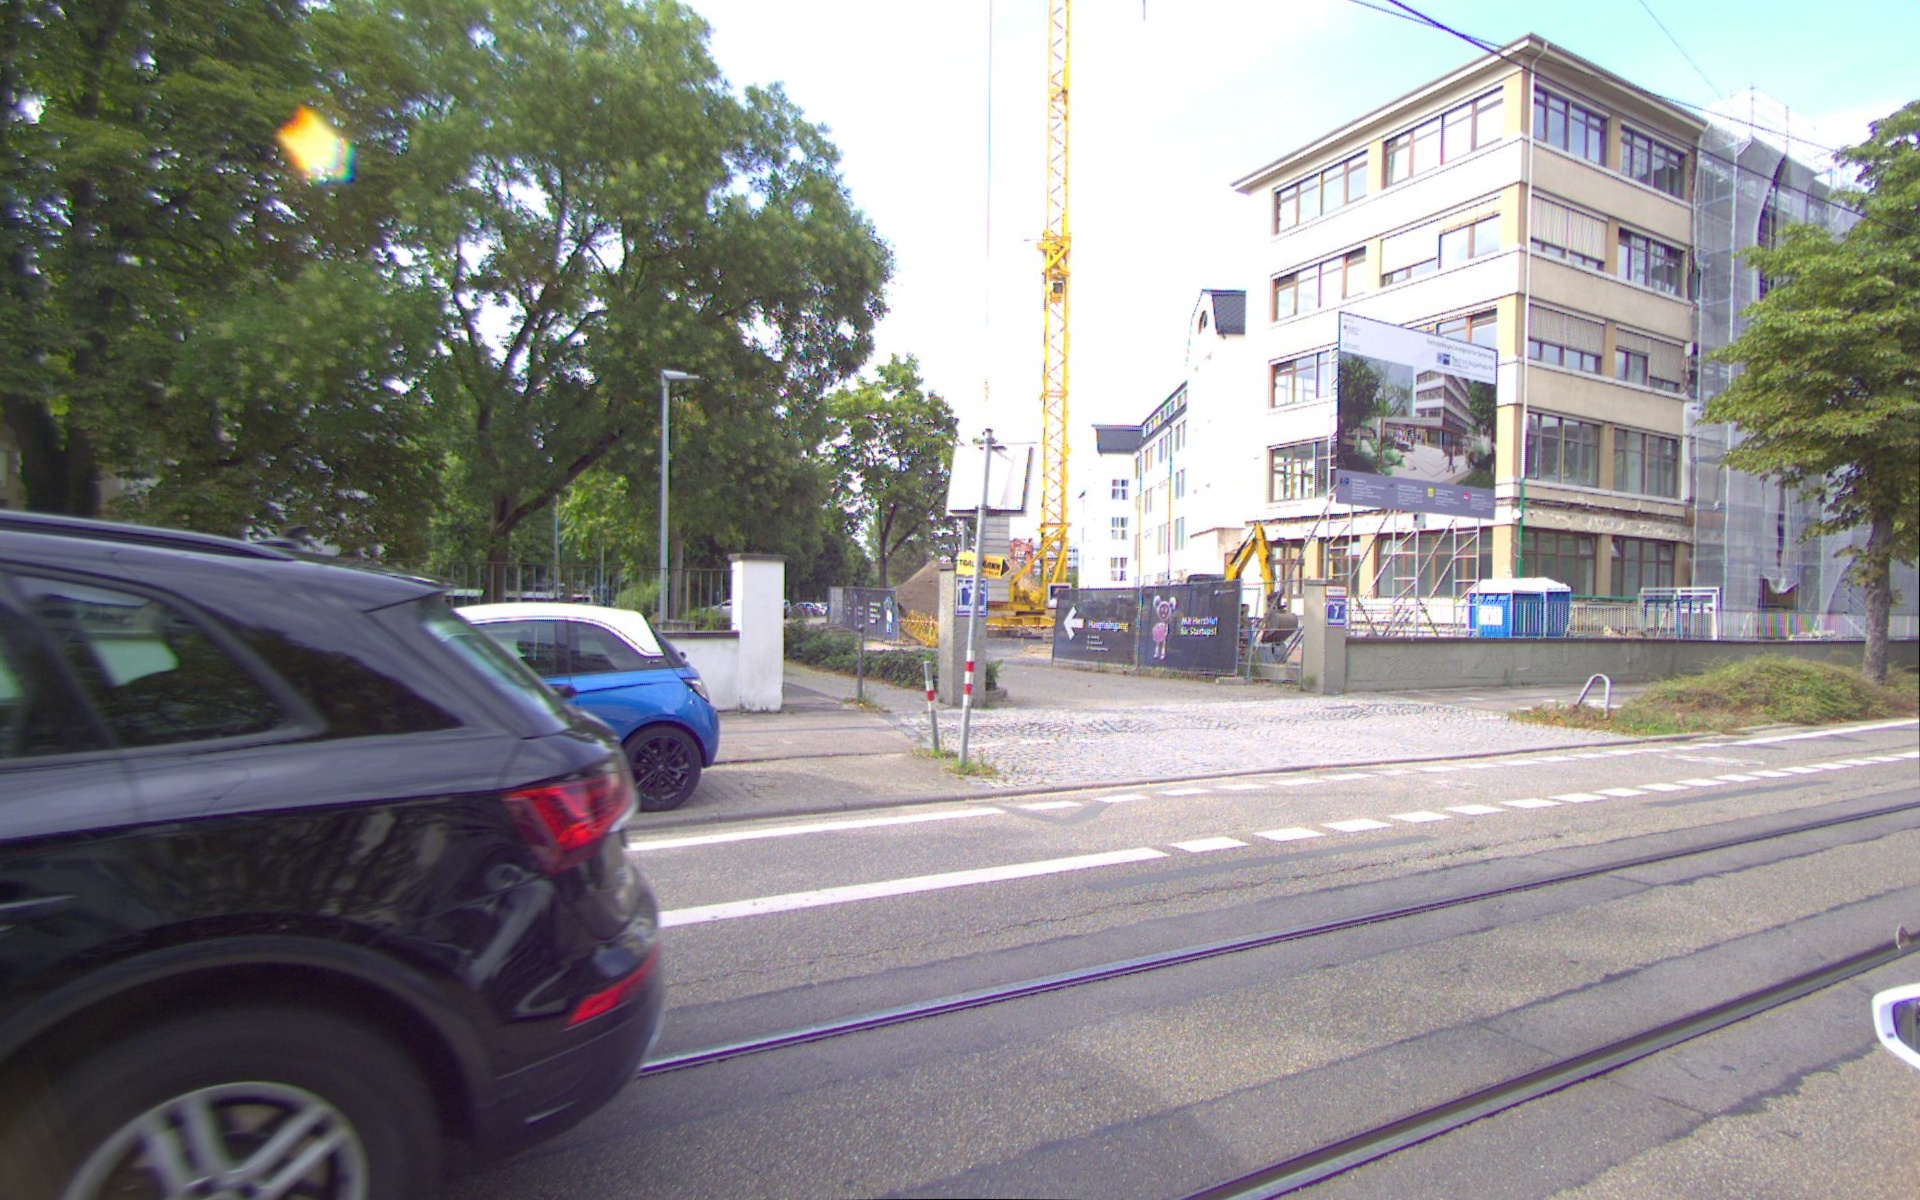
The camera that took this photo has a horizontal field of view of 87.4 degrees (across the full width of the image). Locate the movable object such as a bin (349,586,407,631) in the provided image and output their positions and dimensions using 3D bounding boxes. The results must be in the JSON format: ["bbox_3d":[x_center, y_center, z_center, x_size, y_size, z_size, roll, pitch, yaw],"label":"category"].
[{"bbox_3d":[-19.375,0.289,33.450,1.259,1.449,1.122,2,0,-2],"label":"movable object such as a bin"}]

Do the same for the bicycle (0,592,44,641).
[{"bbox_3d":[-21.917,0.350,22.604,1.940,1.057,0.594,1,1,-4],"label":"bicycle"}]

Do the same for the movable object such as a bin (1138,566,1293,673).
[{"bbox_3d":[6.281,0.479,24.994,2.459,2.475,3.048,2,0,-19],"label":"movable object such as a bin"}]

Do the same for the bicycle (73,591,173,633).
[{"bbox_3d":[-22.347,0.324,26.868,1.953,1.057,0.590,1,1,-28],"label":"bicycle"}]

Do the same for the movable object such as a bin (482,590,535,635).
[{"bbox_3d":[-15.101,0.420,33.639,1.259,1.449,1.122,2,0,-2],"label":"movable object such as a bin"}]

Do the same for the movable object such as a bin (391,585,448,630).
[{"bbox_3d":[-18.012,0.240,33.514,1.259,1.449,1.122,2,0,-2],"label":"movable object such as a bin"}]

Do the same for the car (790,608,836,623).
[{"bbox_3d":[-15.504,1.647,105.880,4.719,1.508,1.997,2,0,-8],"label":"car"}]

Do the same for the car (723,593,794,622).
[{"bbox_3d":[-15.178,0.560,75.897,4.965,1.979,1.999,2,0,-4],"label":"car"}]

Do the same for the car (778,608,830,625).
[{"bbox_3d":[-14.691,1.529,94.808,4.719,1.508,1.997,2,0,-8],"label":"car"}]

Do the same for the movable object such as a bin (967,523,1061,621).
[{"bbox_3d":[4.258,-1.880,75.042,3.781,6.758,10.988,2,0,20],"label":"movable object such as a bin"}]

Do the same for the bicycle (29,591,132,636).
[{"bbox_3d":[-21.945,0.326,25.085,1.940,1.057,0.594,1,1,-4],"label":"bicycle"}]

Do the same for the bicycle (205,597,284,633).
[{"bbox_3d":[-22.081,0.463,31.004,1.940,1.057,0.594,1,1,-4],"label":"bicycle"}]

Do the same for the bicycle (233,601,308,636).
[{"bbox_3d":[-22.202,0.592,32.359,1.940,1.057,0.594,1,1,-4],"label":"bicycle"}]

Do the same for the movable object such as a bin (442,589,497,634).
[{"bbox_3d":[-16.440,0.379,33.713,1.259,1.449,1.122,2,0,-2],"label":"movable object such as a bin"}]

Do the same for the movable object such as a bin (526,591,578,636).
[{"bbox_3d":[-13.583,0.455,33.475,1.259,1.449,1.122,2,0,-2],"label":"movable object such as a bin"}]

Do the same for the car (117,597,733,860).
[{"bbox_3d":[-3.638,0.759,7.312,3.560,1.484,1.620,1,0,-30],"label":"car"}]

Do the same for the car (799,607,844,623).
[{"bbox_3d":[-15.021,1.628,108.892,4.719,1.508,1.997,2,0,-8],"label":"car"}]

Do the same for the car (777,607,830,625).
[{"bbox_3d":[-14.307,1.465,91.982,4.719,1.508,1.997,2,0,-8],"label":"car"}]

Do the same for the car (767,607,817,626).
[{"bbox_3d":[-14.780,1.459,88.661,4.268,1.564,1.751,2,0,-8],"label":"car"}]

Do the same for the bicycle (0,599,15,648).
[{"bbox_3d":[-21.837,0.490,21.825,1.940,1.057,0.594,1,1,-4],"label":"bicycle"}]

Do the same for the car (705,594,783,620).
[{"bbox_3d":[-13.827,0.443,64.605,4.719,1.508,1.997,2,0,-8],"label":"car"}]

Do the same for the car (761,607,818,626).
[{"bbox_3d":[-14.534,1.429,85.996,4.719,1.508,1.997,2,0,-8],"label":"car"}]

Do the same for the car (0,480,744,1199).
[{"bbox_3d":[-2.790,0.599,1.976,4.281,1.634,1.839,1,0,-29],"label":"car"}]
